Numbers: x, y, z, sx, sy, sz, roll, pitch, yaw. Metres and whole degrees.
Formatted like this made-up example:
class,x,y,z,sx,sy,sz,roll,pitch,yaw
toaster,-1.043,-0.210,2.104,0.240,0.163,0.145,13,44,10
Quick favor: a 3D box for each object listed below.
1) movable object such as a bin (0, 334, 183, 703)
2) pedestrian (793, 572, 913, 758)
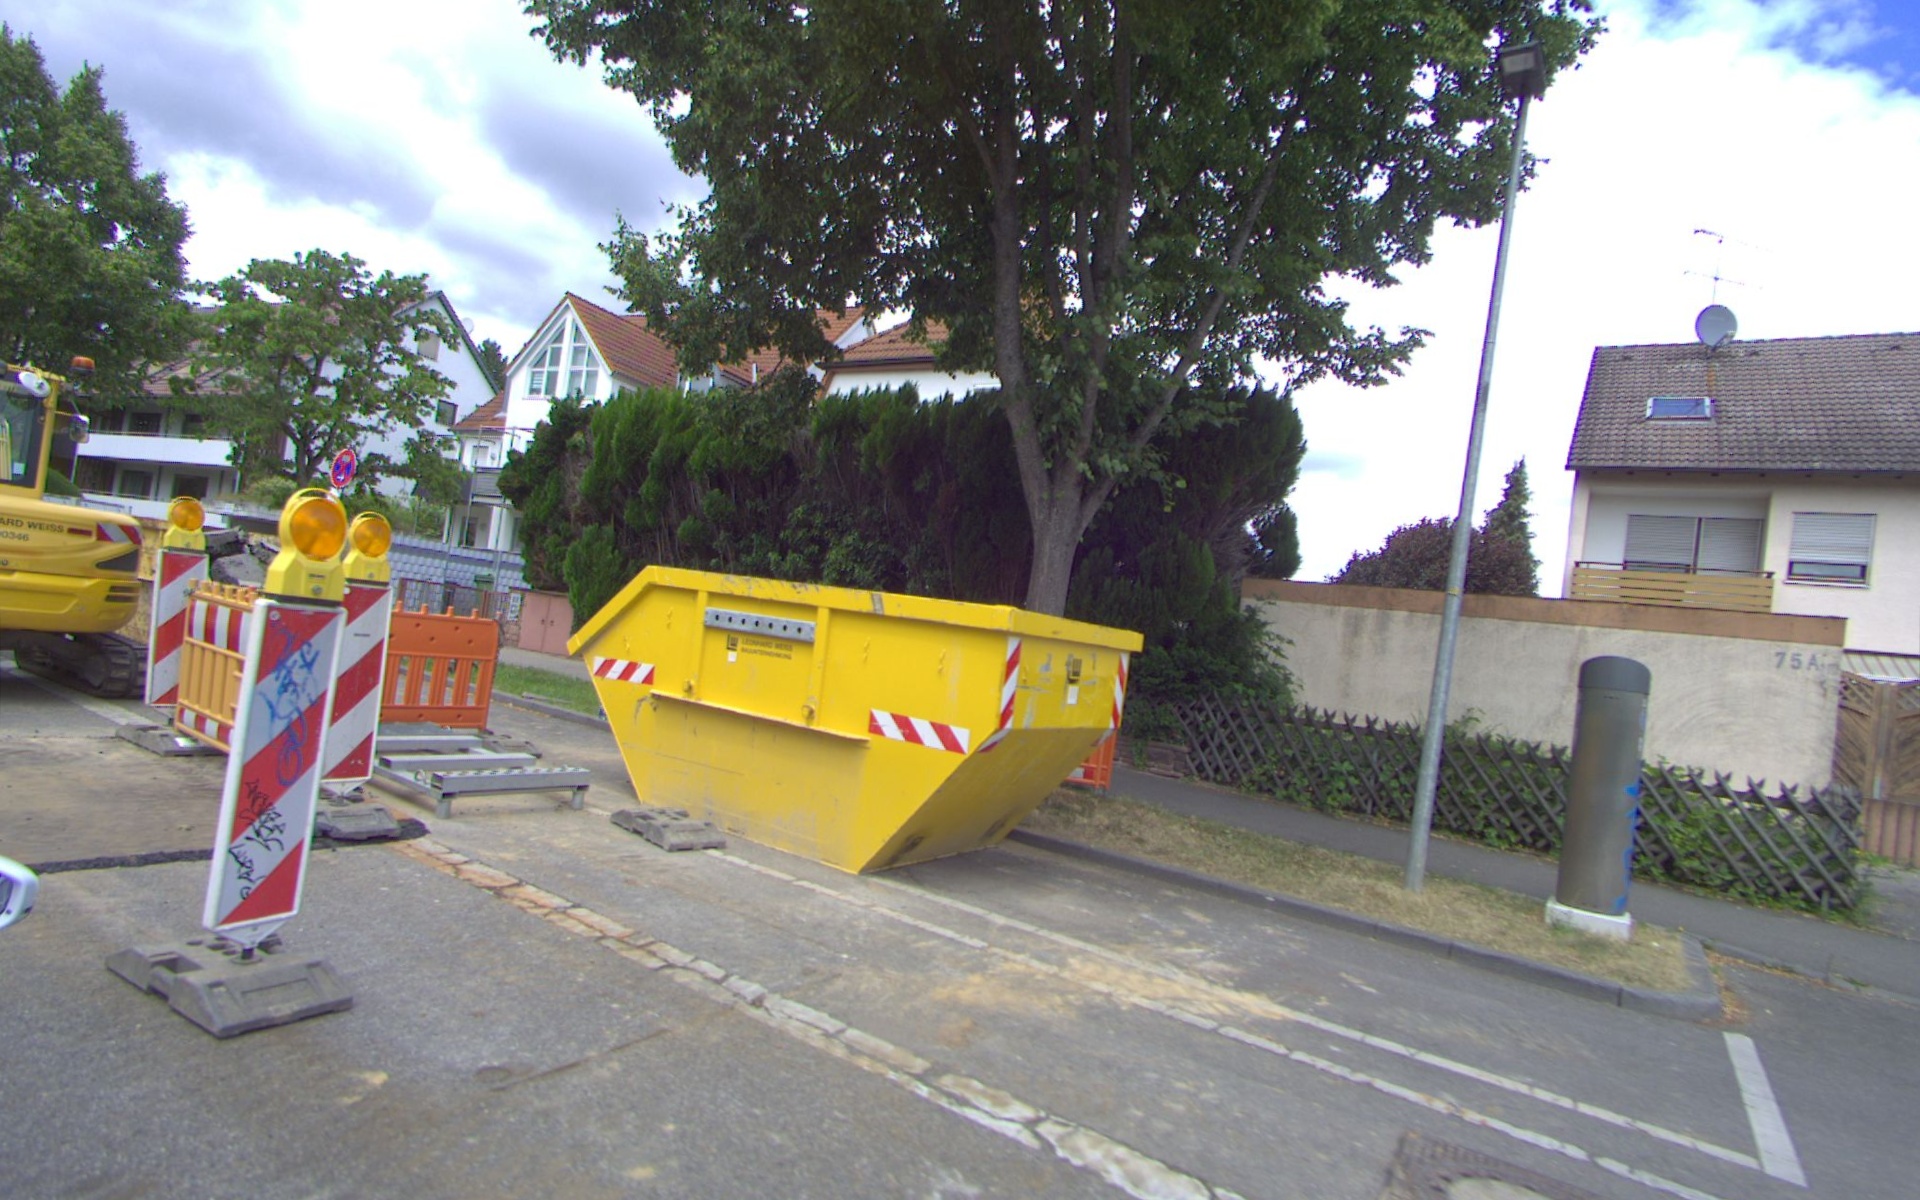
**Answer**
class,x,y,z,sx,sy,sz,roll,pitch,yaw
movable object such as a bin,-8.344,-0.742,8.364,3.682,2.604,1.770,7,-2,36
pedestrian,-1.013,0.625,9.606,0.633,1.653,0.705,7,-1,35
